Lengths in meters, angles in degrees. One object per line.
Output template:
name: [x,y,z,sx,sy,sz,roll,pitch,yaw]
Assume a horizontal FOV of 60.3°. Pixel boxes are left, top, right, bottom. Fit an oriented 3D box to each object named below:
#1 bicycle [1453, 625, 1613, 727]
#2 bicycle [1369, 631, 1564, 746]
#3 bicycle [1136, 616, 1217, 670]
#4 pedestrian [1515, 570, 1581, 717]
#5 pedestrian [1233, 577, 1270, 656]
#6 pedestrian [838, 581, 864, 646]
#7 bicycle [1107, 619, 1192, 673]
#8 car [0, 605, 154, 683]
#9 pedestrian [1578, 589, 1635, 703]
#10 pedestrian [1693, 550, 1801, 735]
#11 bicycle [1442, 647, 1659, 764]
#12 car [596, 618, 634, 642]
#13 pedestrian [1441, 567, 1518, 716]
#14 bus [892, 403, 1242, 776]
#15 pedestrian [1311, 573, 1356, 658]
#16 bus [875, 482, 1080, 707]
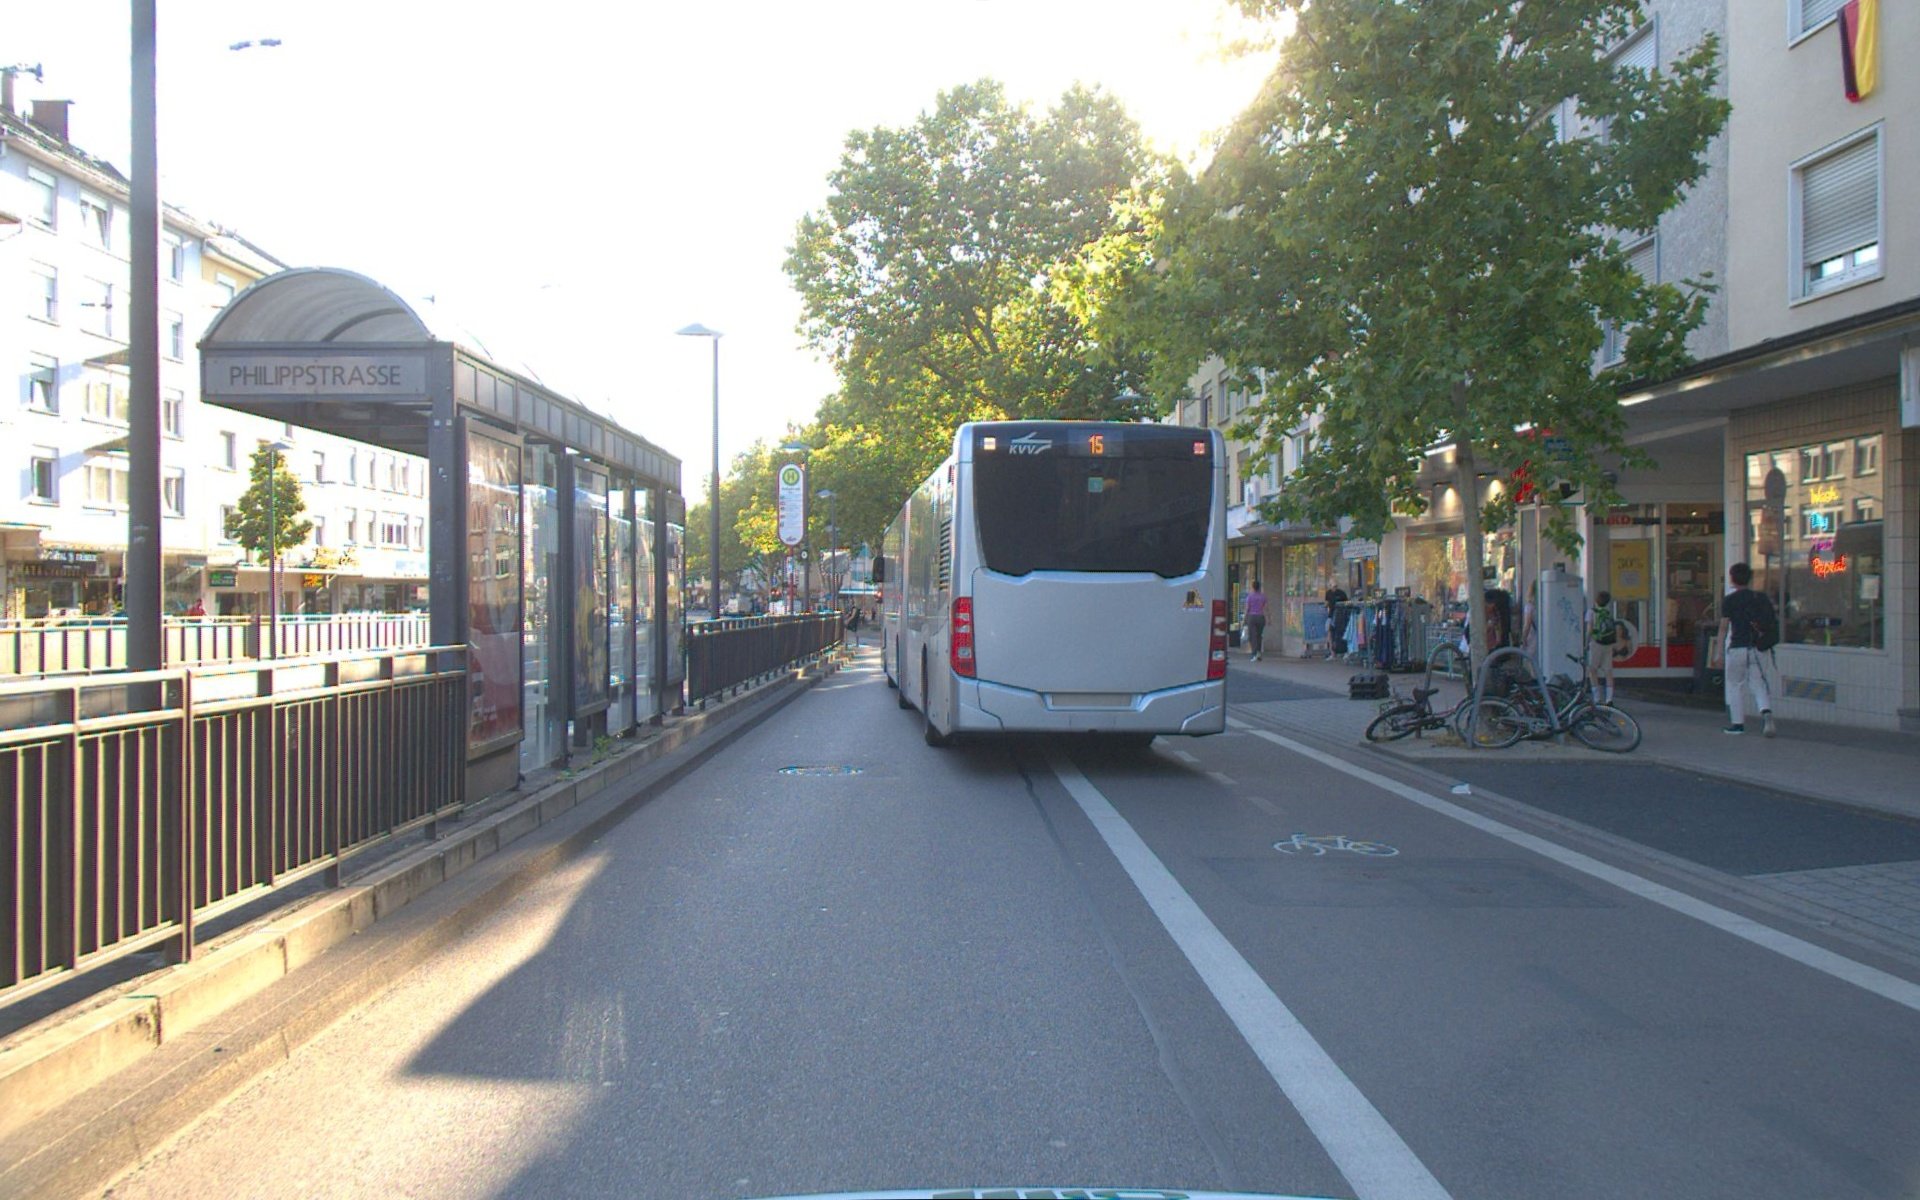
bicycle: [5.957,0.784,17.164,1.676,0.958,0.645,1,-9,-36]
bicycle: [5.353,0.924,17.473,1.765,0.637,0.935,-4,-34,-32]
bicycle: [4.937,0.968,37.651,1.677,1.096,0.589,-4,0,-18]
pedestrian: [7.440,0.538,20.952,0.553,1.827,0.766,0,-1,-1]
pedestrian: [6.751,0.378,38.301,0.709,1.827,0.766,0,-1,-1]
pedestrian: [-4.365,0.534,66.413,0.870,2.591,1.164,0,-1,6]
bicycle: [4.410,1.069,38.543,1.848,1.096,0.754,-4,0,2]
car: [-23.098,1.099,42.911,1.740,1.708,3.488,1,4,43]
pedestrian: [8.115,0.572,20.786,0.465,1.419,0.611,0,-1,-1]
pedestrian: [7.965,0.421,16.760,0.709,1.827,0.766,0,-1,-1]
bicycle: [5.670,0.999,15.943,1.748,0.958,0.793,-4,0,-6]
car: [-24.536,2.111,117.711,1.953,1.680,3.999,0,0,-1]
pedestrian: [6.508,0.508,20.740,0.709,1.827,0.766,0,-1,-1]
bus: [0.743,-0.074,18.897,2.644,3.173,9.372,1,0,-5]
pedestrian: [8.284,0.338,36.731,0.709,1.827,0.766,-3,-1,-1]
bus: [0.031,-0.069,28.094,2.644,3.173,9.061,1,0,-5]
